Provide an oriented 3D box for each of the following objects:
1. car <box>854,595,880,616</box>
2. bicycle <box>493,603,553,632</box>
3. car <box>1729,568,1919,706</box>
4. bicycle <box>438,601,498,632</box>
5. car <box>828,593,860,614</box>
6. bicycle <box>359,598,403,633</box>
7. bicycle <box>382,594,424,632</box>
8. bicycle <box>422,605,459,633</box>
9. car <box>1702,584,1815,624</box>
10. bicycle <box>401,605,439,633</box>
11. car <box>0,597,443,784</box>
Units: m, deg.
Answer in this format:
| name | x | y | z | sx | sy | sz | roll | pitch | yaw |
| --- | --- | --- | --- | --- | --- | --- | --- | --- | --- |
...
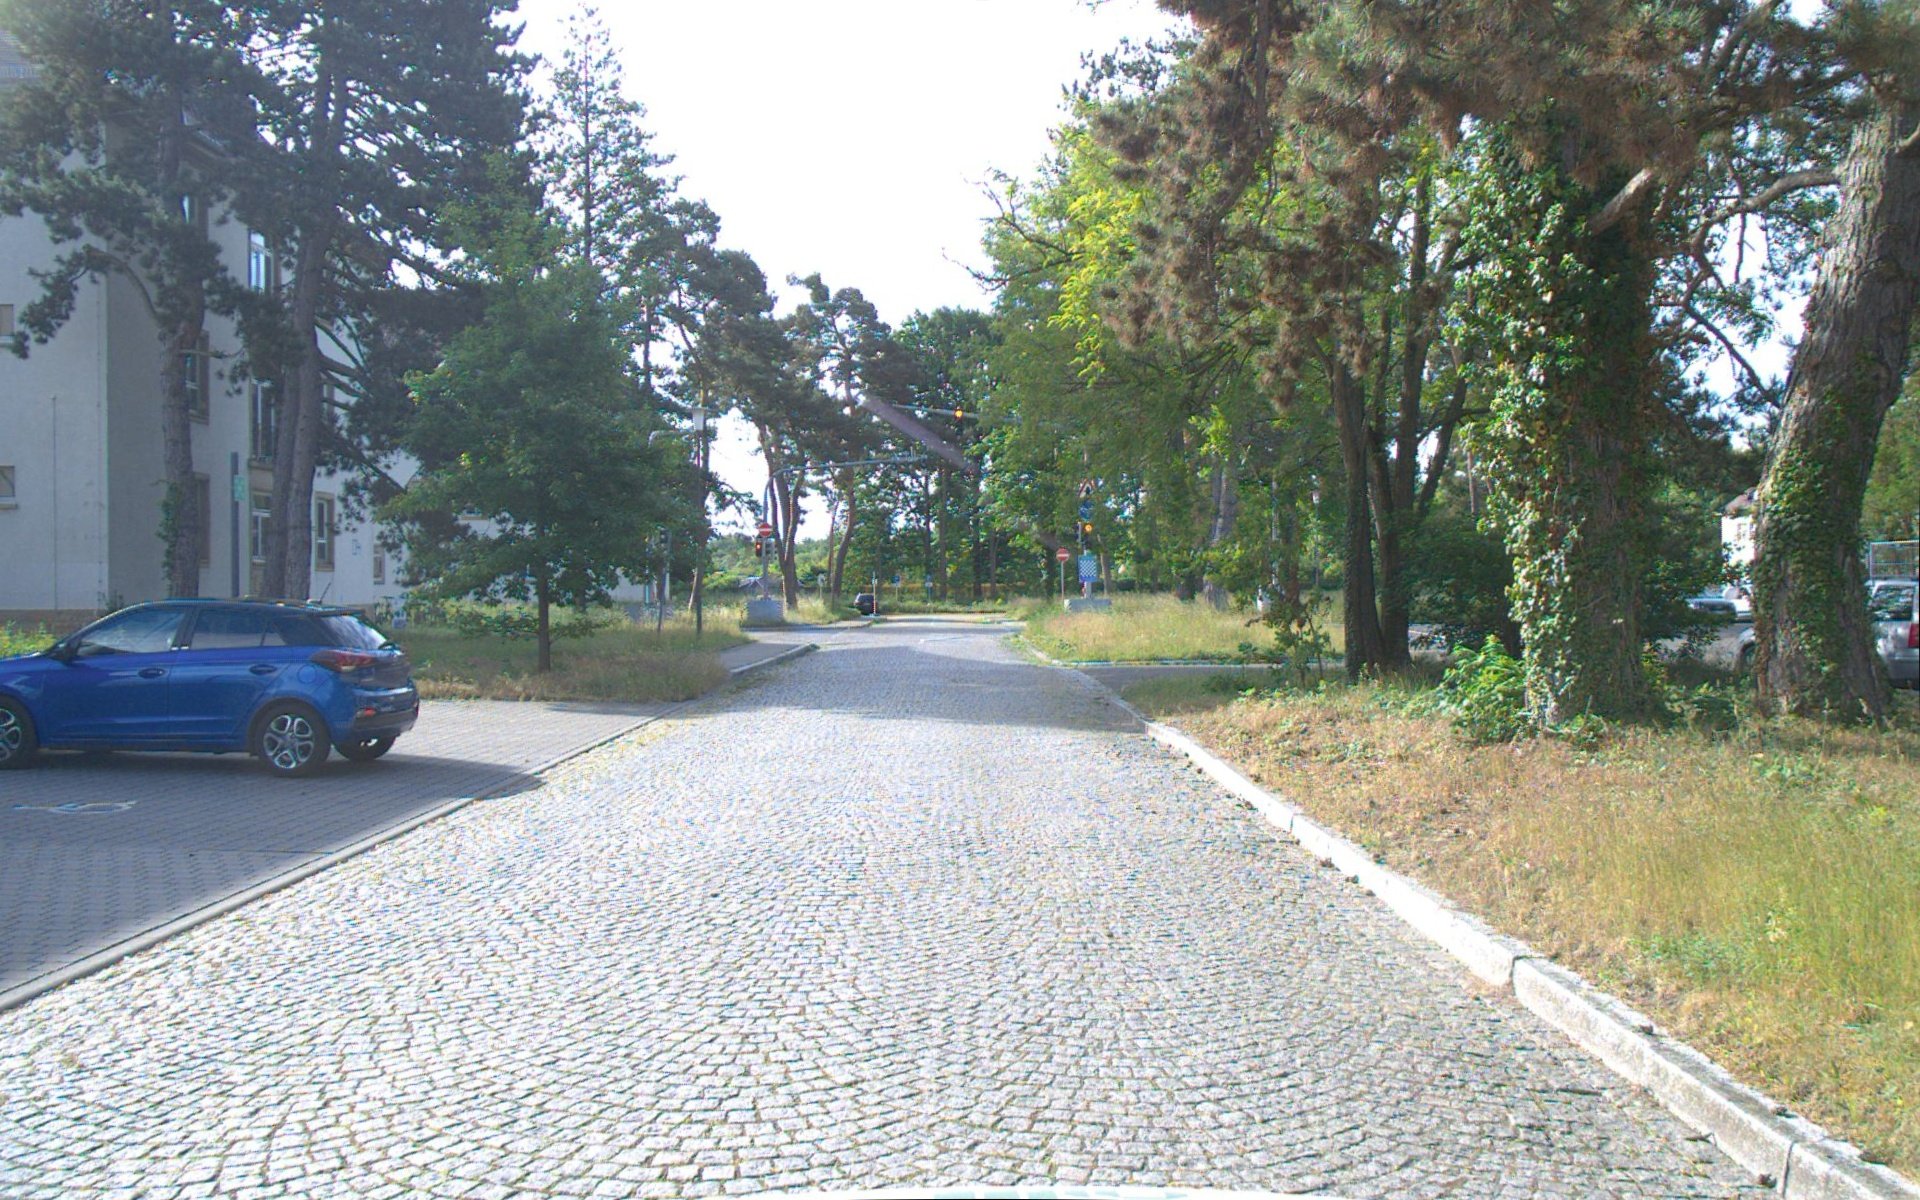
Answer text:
| name | x | y | z | sx | sy | sz | roll | pitch | yaw |
| --- | --- | --- | --- | --- | --- | --- | --- | --- | --- |
| car | -6.794 | 0.387 | 120.971 | 1.808 | 1.512 | 3.998 | -1 | 0 | -3 |
| bicycle | -16.728 | 0.658 | 63.384 | 2.075 | 1.065 | 0.828 | -1 | 0 | -4 |
| car | 11.081 | 0.388 | 19.852 | 1.634 | 1.493 | 3.997 | -1 | 0 | -4 |
| bicycle | -18.811 | 0.630 | 63.259 | 2.075 | 1.128 | 0.828 | -1 | 0 | -4 |
| car | -8.821 | 0.238 | 125.708 | 1.745 | 1.516 | 3.758 | -1 | 0 | 6 |
| bicycle | -22.552 | 0.586 | 64.452 | 0.809 | 1.303 | 2.553 | -1 | 0 | -1 |
| bicycle | -21.797 | 0.503 | 64.764 | 0.809 | 1.462 | 2.553 | -1 | 0 | -1 |
| bicycle | -20.250 | 0.739 | 64.489 | 0.809 | 1.065 | 2.124 | -1 | 0 | -1 |
| car | 28.236 | 0.141 | 58.620 | 1.697 | 1.335 | 4.328 | -1 | 0 | -4 |
| bicycle | -21.017 | 0.727 | 64.435 | 0.809 | 1.065 | 2.124 | -1 | 0 | -1 |
| car | -6.800 | 0.761 | 14.808 | 3.757 | 1.489 | 1.720 | 1 | 0 | 1 |
